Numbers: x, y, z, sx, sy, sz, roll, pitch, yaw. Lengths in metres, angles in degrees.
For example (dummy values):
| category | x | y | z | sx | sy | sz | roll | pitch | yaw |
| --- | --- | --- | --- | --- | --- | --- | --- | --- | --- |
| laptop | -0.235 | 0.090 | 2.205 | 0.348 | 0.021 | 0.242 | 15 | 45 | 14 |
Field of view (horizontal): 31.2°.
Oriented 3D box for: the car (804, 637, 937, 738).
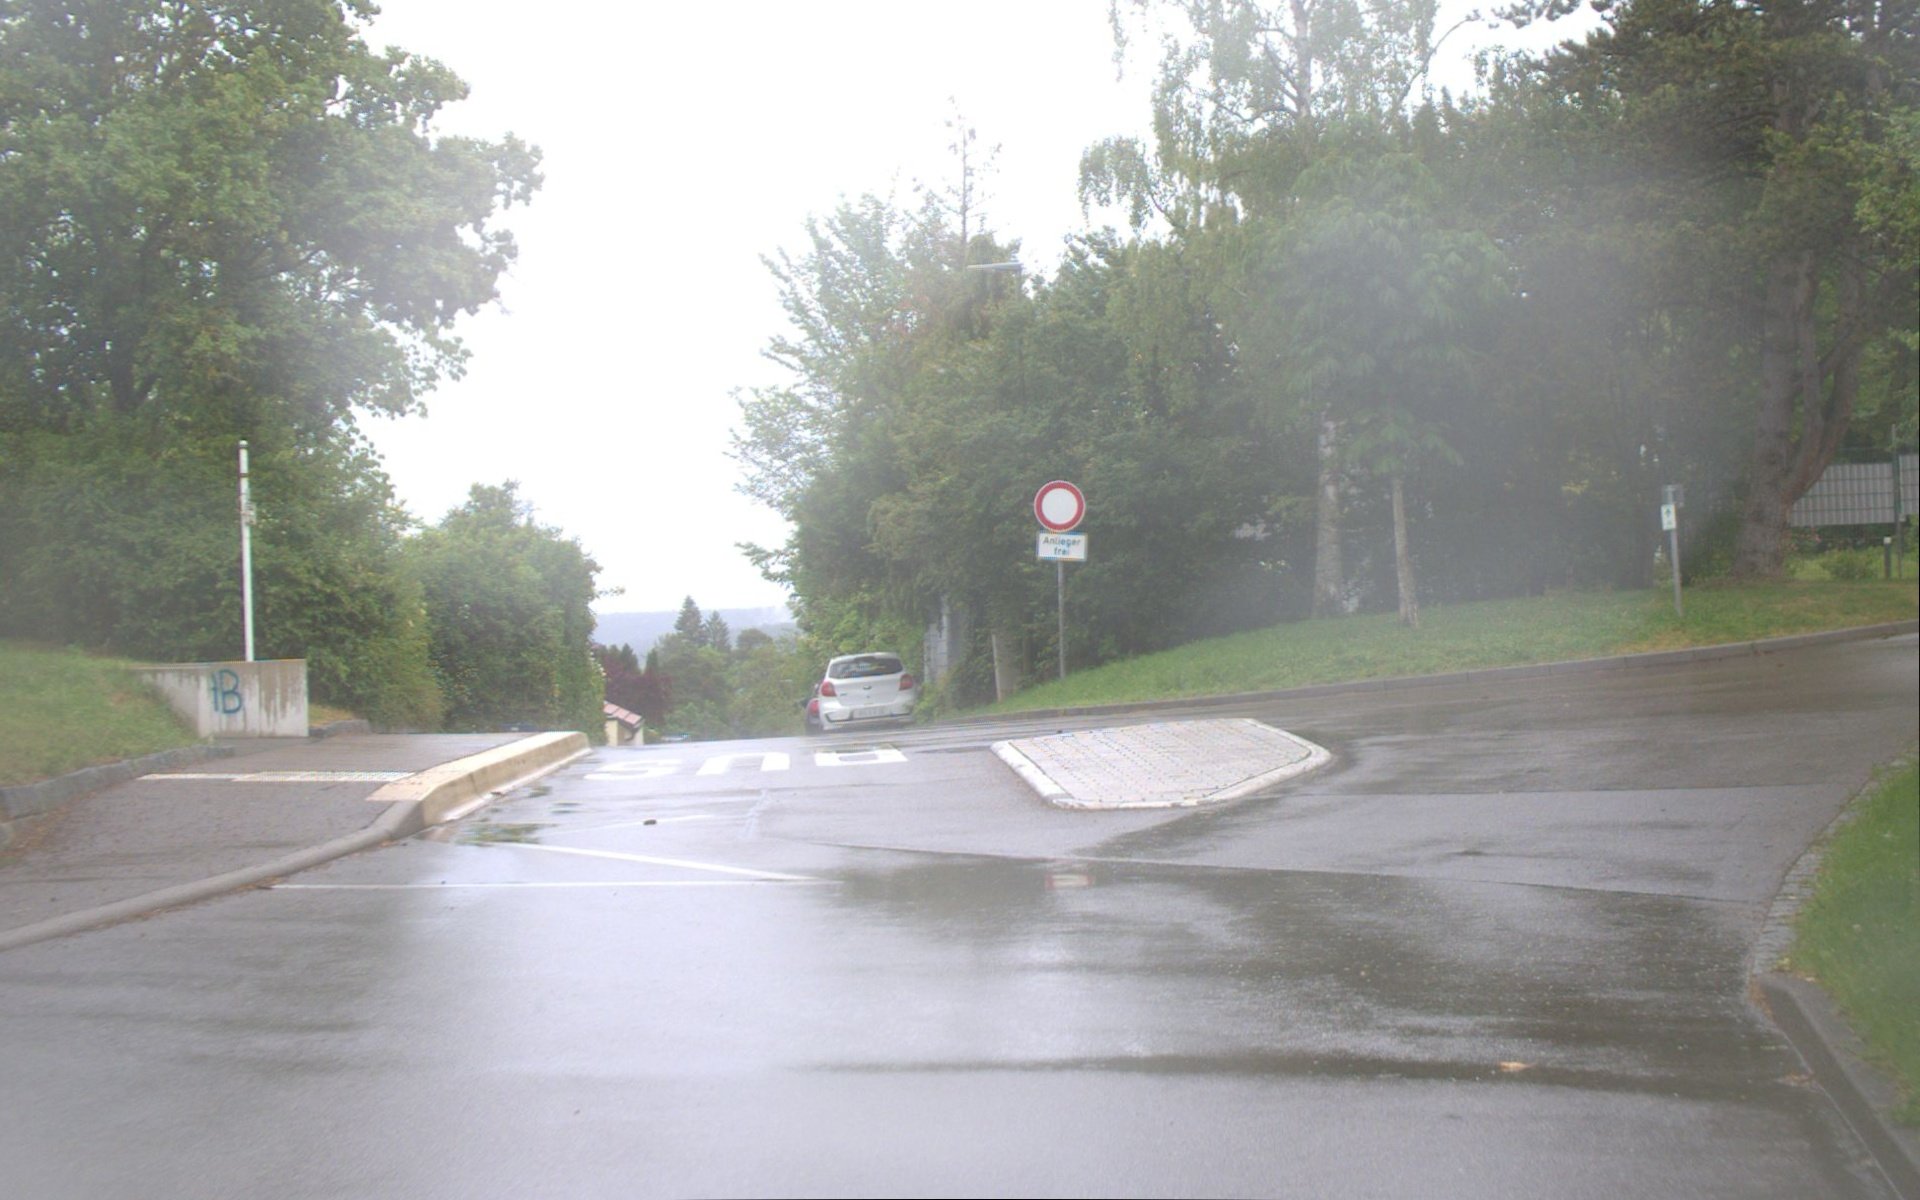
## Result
| category | x | y | z | sx | sy | sz | roll | pitch | yaw |
| --- | --- | --- | --- | --- | --- | --- | --- | --- | --- |
| car | -1.484 | 1.512 | 58.315 | 1.993 | 1.578 | 3.999 | -1 | -3 | 2 |
